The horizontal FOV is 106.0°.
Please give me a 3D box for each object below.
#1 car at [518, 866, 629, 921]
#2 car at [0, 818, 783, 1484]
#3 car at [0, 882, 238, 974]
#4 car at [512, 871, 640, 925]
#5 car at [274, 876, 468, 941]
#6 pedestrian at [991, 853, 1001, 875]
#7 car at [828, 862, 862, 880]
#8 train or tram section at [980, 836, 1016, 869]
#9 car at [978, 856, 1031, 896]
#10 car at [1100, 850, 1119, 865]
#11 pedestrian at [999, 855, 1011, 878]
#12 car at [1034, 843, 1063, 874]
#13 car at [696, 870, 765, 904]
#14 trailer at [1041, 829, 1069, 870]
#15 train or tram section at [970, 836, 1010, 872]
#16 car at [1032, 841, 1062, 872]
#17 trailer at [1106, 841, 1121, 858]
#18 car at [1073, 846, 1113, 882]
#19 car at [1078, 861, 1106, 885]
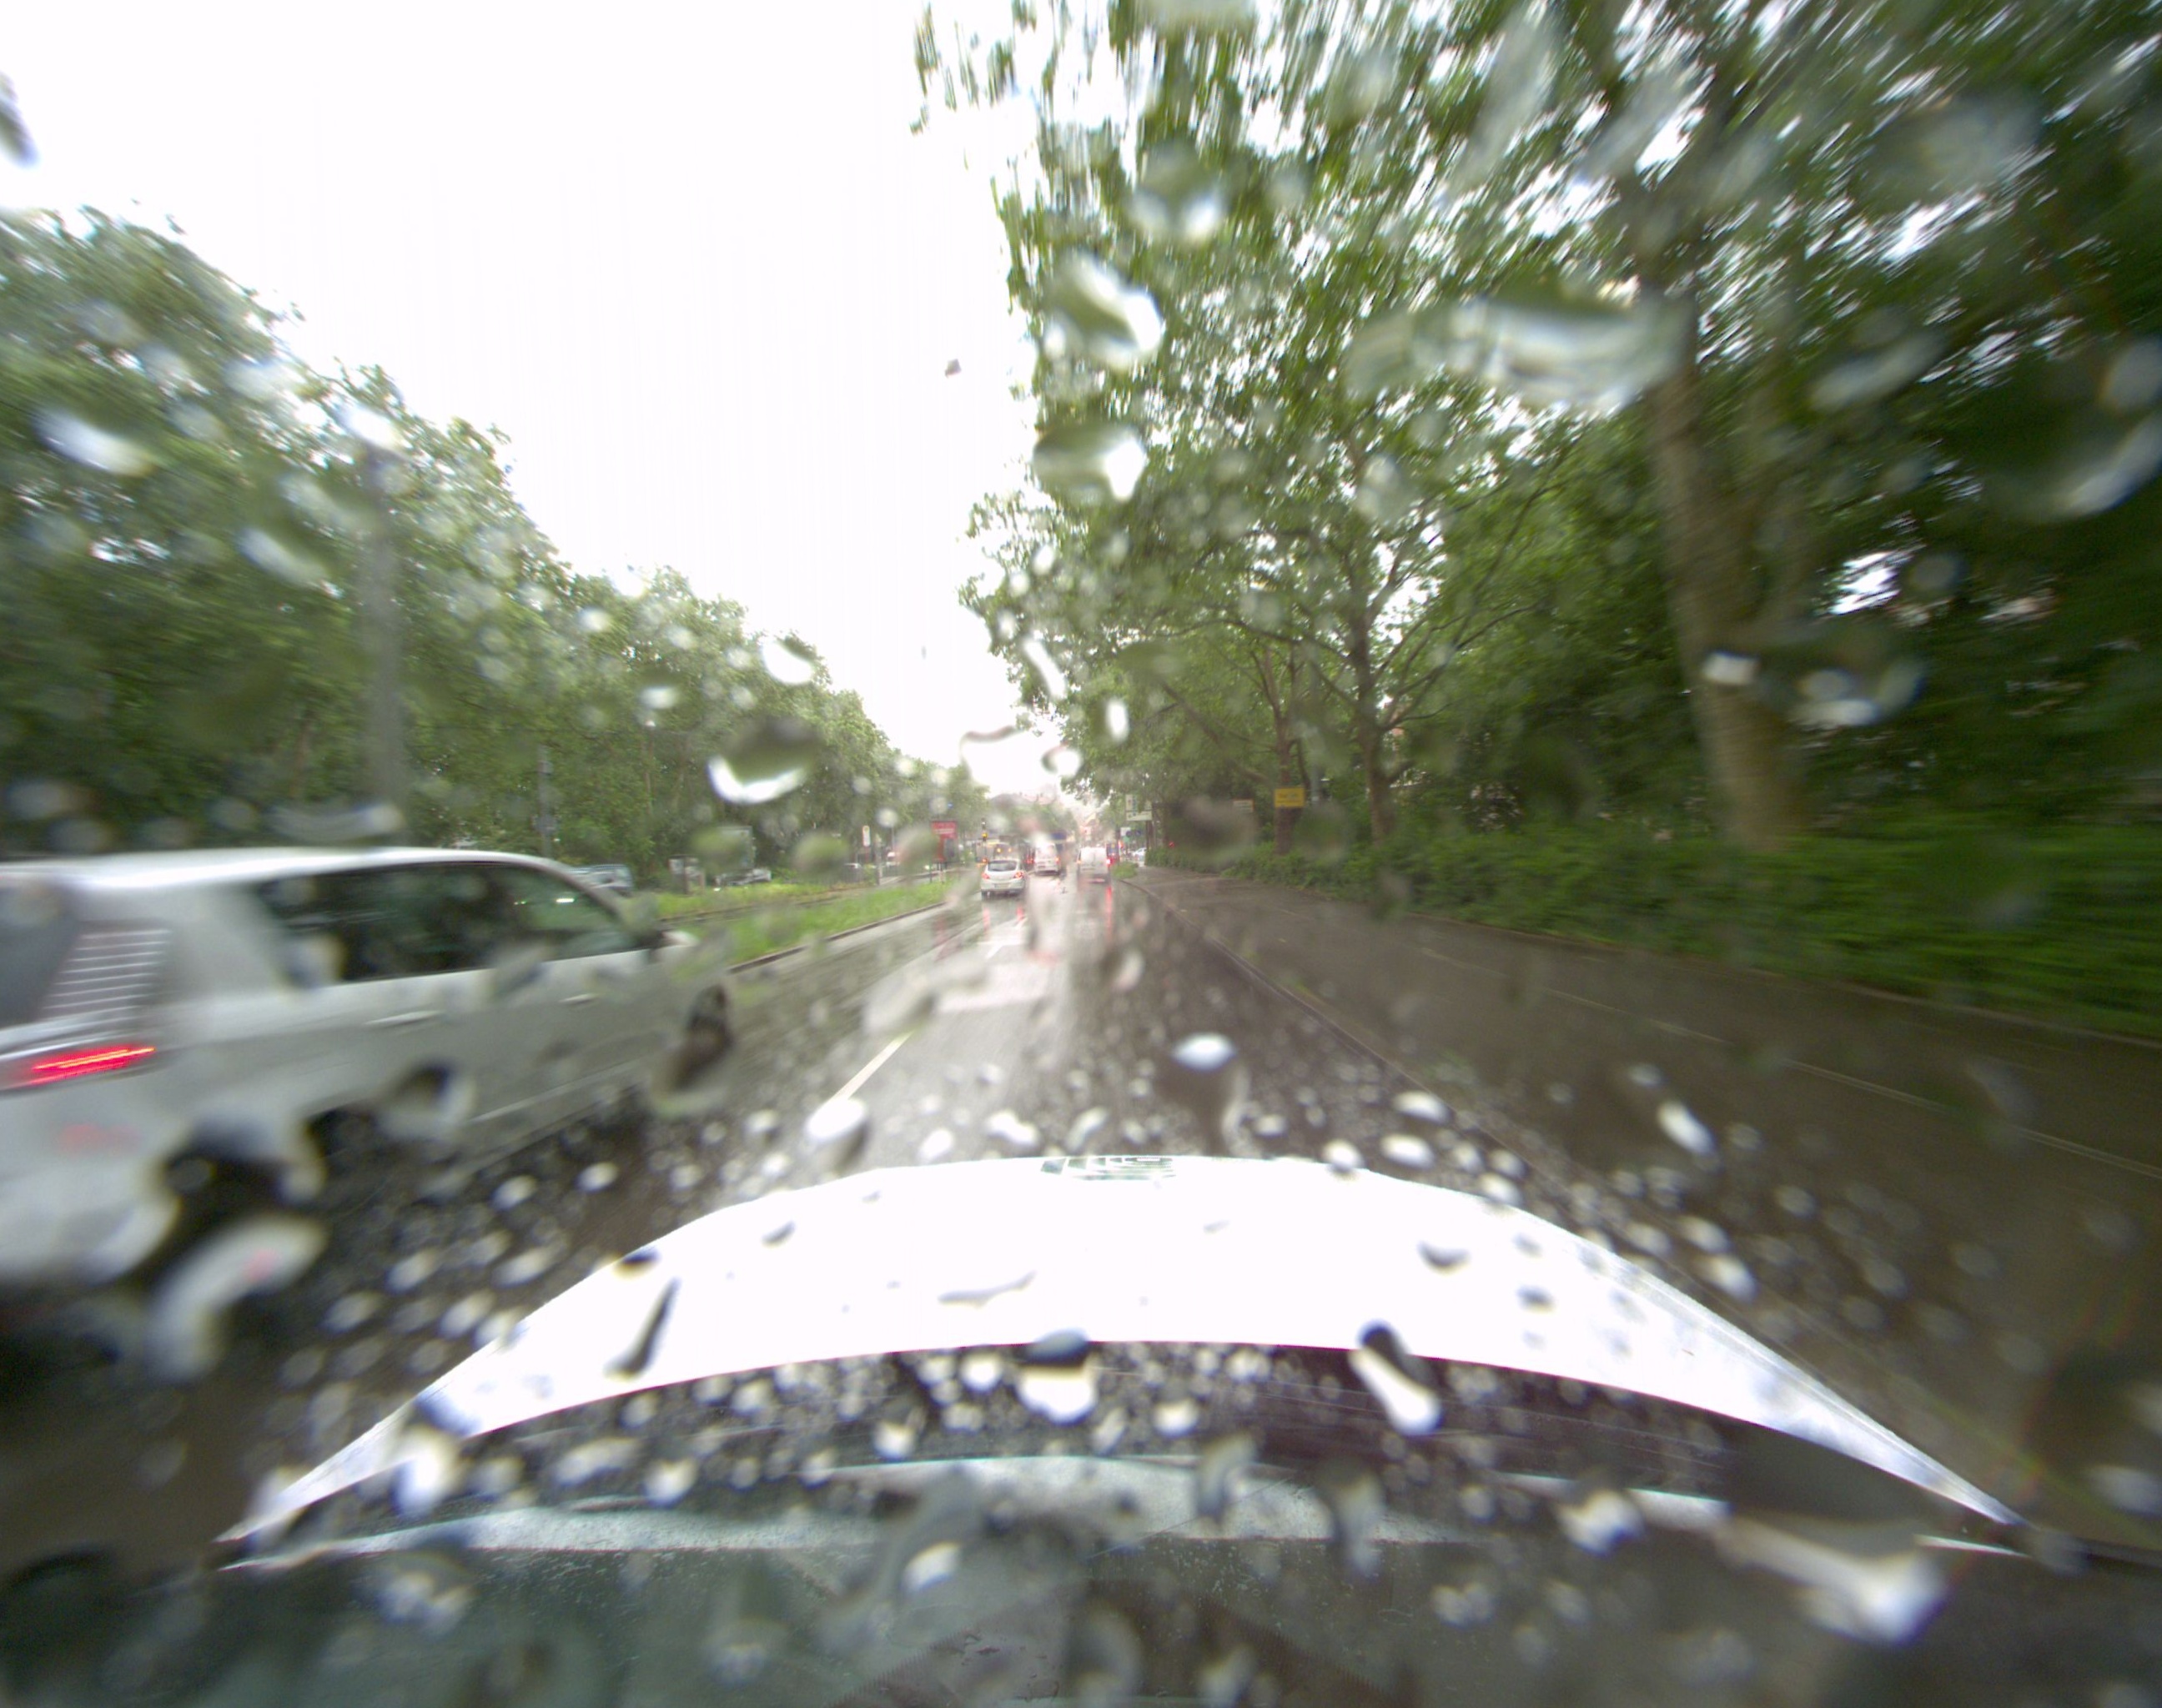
[{"bbox_3d":[-22.332,1.671,36.090,2.028,2.093,4.797,-4,0,-4],"label":"car"},{"bbox_3d":[-3.324,0.758,4.150,1.857,1.623,4.265,-1,0,2],"label":"car"},{"bbox_3d":[-21.923,1.572,17.889,2.026,1.657,4.606,-4,0,-2],"label":"car"},{"bbox_3d":[-18.418,1.533,29.983,2.009,1.657,4.392,-4,0,-2],"label":"car"},{"bbox_3d":[-21.906,1.603,25.442,2.026,1.657,4.606,-3,0,-2],"label":"car"},{"bbox_3d":[-6.840,0.820,65.499,0.713,1.744,0.750,-2,-1,-1],"label":"pedestrian"},{"bbox_3d":[-22.102,1.611,76.493,1.928,1.517,4.000,-3,0,0],"label":"car"},{"bbox_3d":[-9.018,-0.174,89.018,2.970,3.285,8.428,-3,1,-1],"label":"train or tram section"},{"bbox_3d":[-3.024,0.877,32.741,1.720,1.479,3.804,-1,-1,0],"label":"car"},{"bbox_3d":[3.319,0.378,93.885,1.985,1.542,4.004,-2,0,4],"label":"car"},{"bbox_3d":[-5.698,0.924,61.004,0.788,1.714,0.770,0,-2,-1],"label":"pedestrian"},{"bbox_3d":[-2.517,0.389,64.403,1.987,2.262,5.288,-1,-1,0],"label":"car"},{"bbox_3d":[-19.328,1.786,45.098,2.027,1.657,4.272,-4,0,-3],"label":"car"},{"bbox_3d":[-2.580,-0.408,82.048,2.583,3.899,7.632,-1,0,-1],"label":"trailer"},{"bbox_3d":[-8.917,-0.059,80.618,2.952,3.285,8.357,-3,1,-1],"label":"train or tram section"},{"bbox_3d":[-3.010,0.257,72.881,2.322,2.557,6.113,-1,-1,0],"label":"car"},{"bbox_3d":[4.765,-0.664,120.342,1.987,2.317,4.666,-1,-1,-1],"label":"trailer"},{"bbox_3d":[0.617,0.533,43.140,1.953,1.777,3.569,-1,-1,0],"label":"car"},{"bbox_3d":[0.799,1.354,58.547,1.901,1.618,4.001,-2,-1,2],"label":"car"}]
